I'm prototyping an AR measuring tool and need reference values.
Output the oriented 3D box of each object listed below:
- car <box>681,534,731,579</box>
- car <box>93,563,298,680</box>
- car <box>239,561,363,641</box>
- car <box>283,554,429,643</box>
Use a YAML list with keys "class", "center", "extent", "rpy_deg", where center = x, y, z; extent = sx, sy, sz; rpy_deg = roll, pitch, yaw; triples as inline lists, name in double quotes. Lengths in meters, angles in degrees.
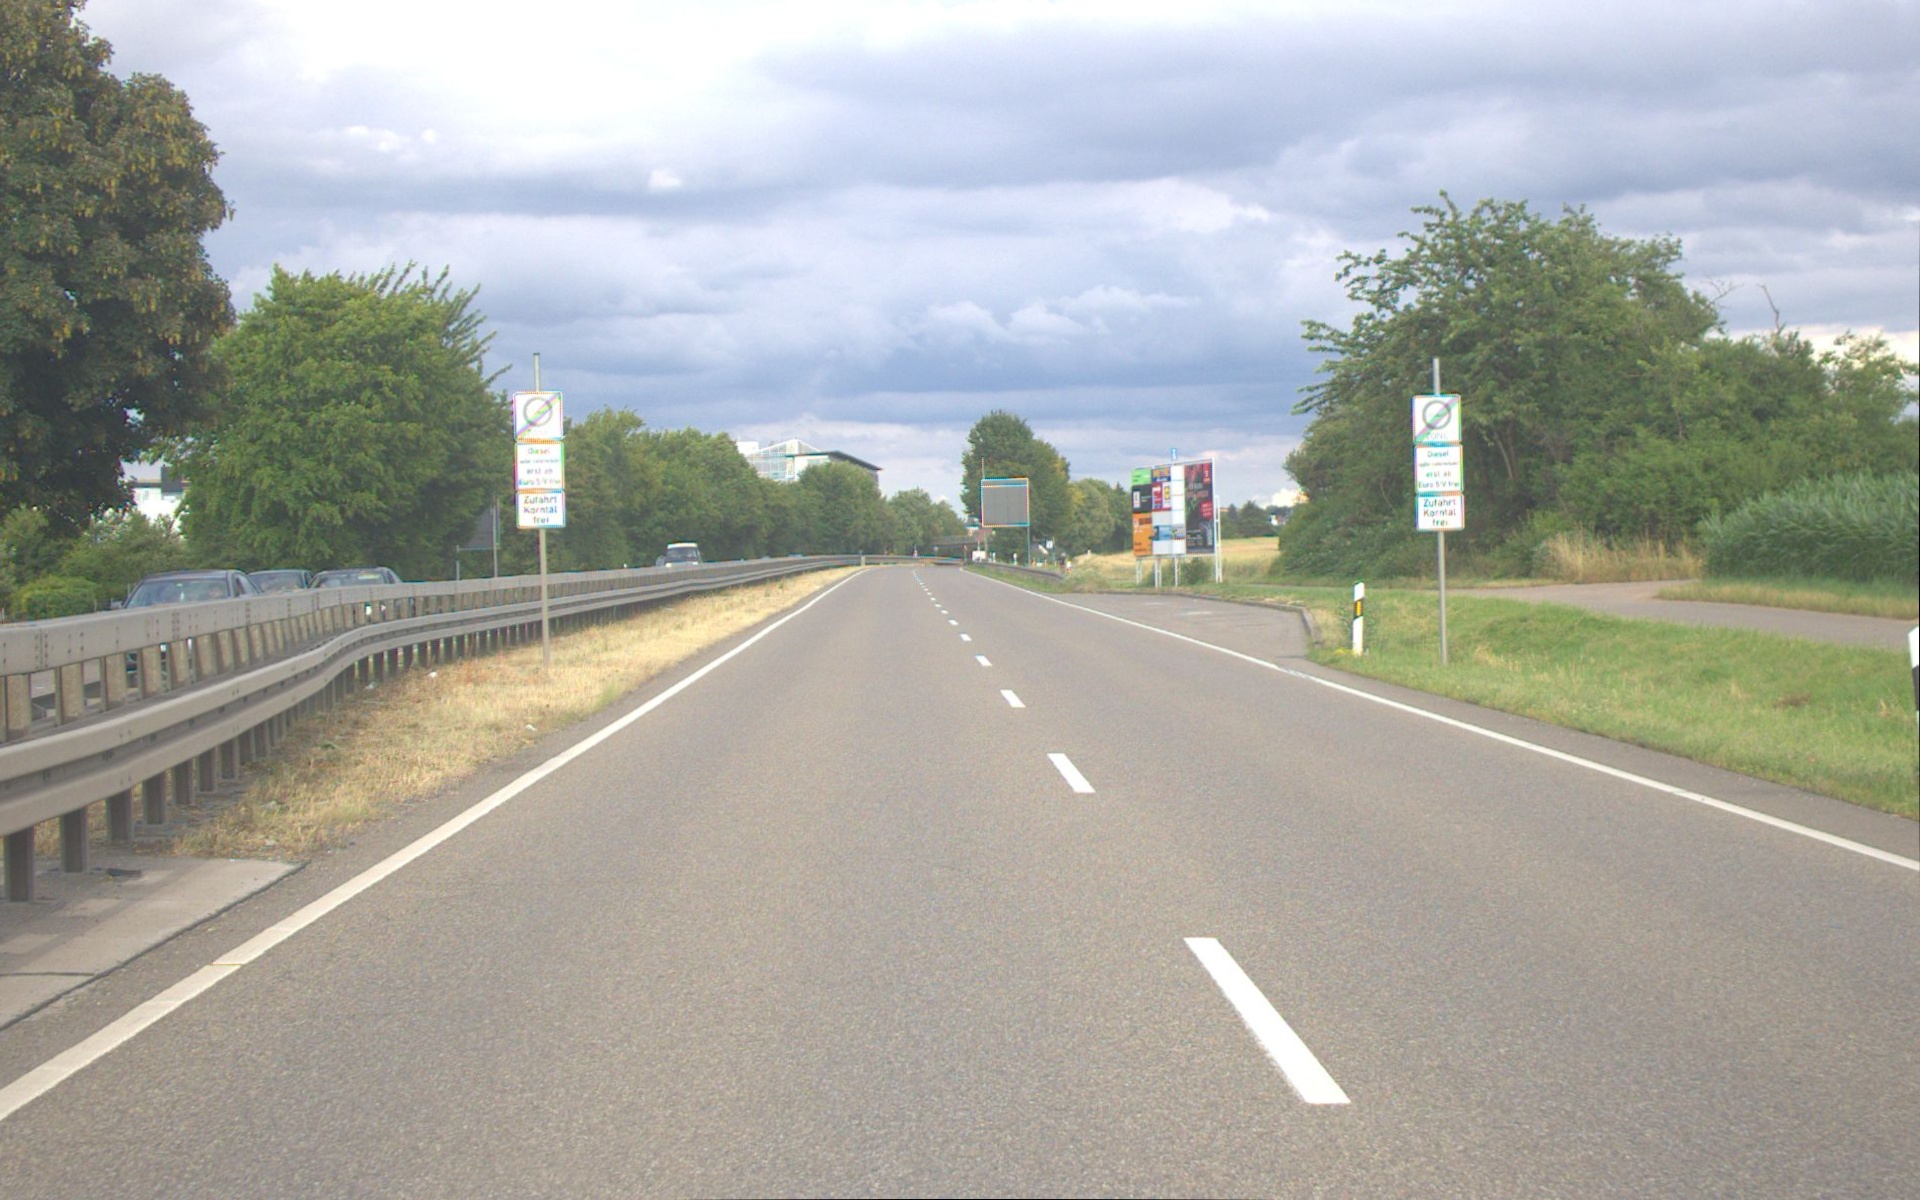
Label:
- class: "car"
  center: [-12.781, -2.191, 173.121]
  extent: [1.993, 2.133, 5.319]
  rpy_deg: [-3, 1, 0]
- class: "car"
  center: [-10.791, 0.267, 48.850]
  extent: [1.866, 1.472, 4.826]
  rpy_deg: [-2, 1, -1]
- class: "car"
  center: [-13.954, 0.003, 73.009]
  extent: [1.866, 1.558, 4.152]
  rpy_deg: [-2, 1, -1]
- class: "car"
  center: [-11.127, -0.059, 63.632]
  extent: [1.866, 1.472, 4.936]
  rpy_deg: [-2, 1, -1]
